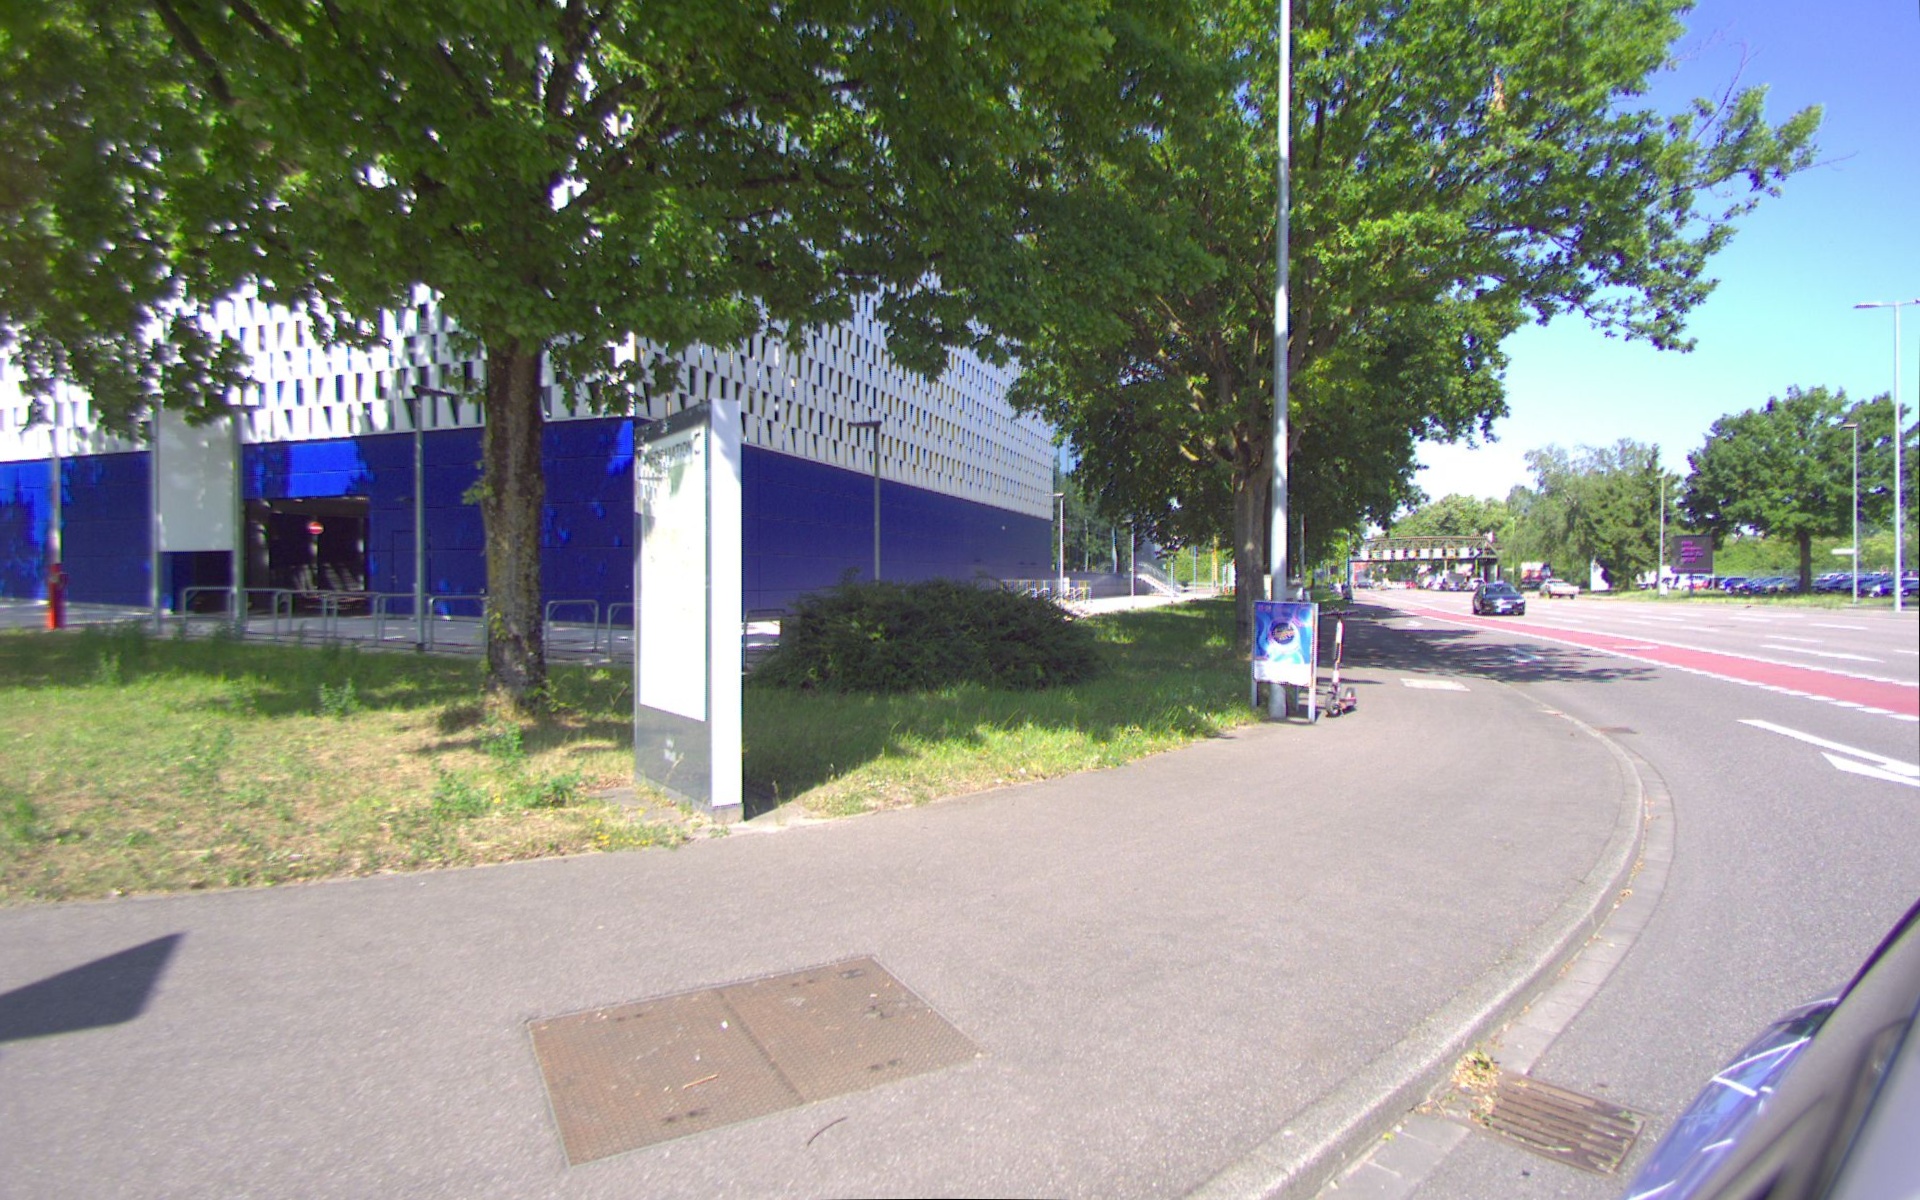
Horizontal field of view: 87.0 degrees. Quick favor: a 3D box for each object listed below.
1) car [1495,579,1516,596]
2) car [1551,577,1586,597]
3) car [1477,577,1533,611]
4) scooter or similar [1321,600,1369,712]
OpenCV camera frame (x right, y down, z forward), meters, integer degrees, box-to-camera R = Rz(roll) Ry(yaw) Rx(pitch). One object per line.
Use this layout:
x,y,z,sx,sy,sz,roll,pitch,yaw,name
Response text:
69.626,-1.590,129.150,1.977,2.039,3.969,-1,0,23,car
54.920,-1.196,91.405,2.146,1.696,4.476,-1,0,25,car
25.491,-0.305,47.456,1.750,1.483,4.209,-1,1,21,car
4.486,0.614,11.762,0.253,1.196,1.375,1,1,32,scooter or similar
